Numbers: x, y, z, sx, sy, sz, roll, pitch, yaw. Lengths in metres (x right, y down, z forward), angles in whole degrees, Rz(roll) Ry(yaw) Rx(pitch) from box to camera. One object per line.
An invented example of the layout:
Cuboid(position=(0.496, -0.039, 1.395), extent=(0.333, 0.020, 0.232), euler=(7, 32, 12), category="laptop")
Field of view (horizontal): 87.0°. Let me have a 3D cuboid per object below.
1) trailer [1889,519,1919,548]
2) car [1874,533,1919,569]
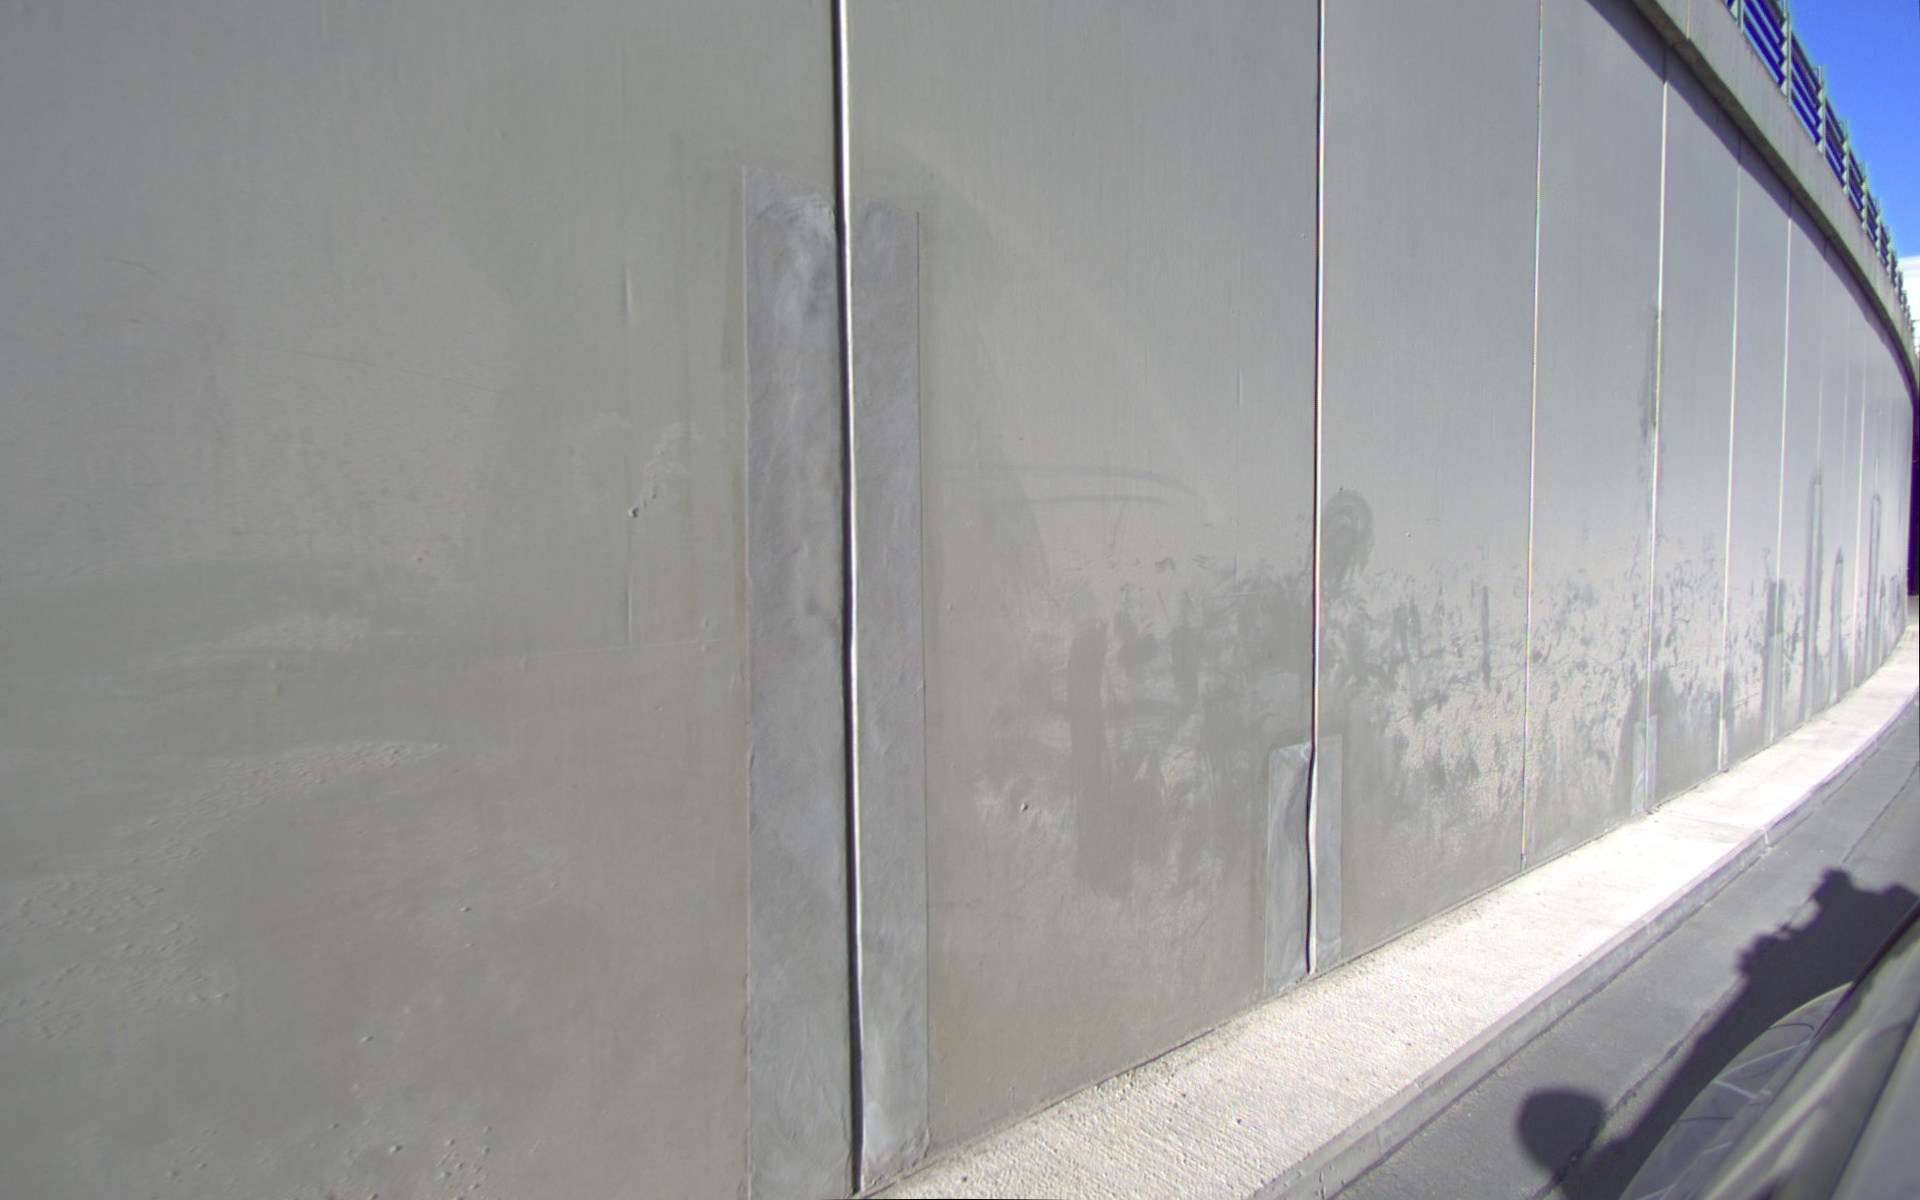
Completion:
Cuboid(position=(71.895, -5.005, 76.120), extent=(2.196, 2.037, 3.433), euler=(-1, 4, 29), category="trailer")
Cuboid(position=(45.366, -2.384, 48.802), extent=(1.890, 1.564, 4.179), euler=(0, 4, 42), category="car")
